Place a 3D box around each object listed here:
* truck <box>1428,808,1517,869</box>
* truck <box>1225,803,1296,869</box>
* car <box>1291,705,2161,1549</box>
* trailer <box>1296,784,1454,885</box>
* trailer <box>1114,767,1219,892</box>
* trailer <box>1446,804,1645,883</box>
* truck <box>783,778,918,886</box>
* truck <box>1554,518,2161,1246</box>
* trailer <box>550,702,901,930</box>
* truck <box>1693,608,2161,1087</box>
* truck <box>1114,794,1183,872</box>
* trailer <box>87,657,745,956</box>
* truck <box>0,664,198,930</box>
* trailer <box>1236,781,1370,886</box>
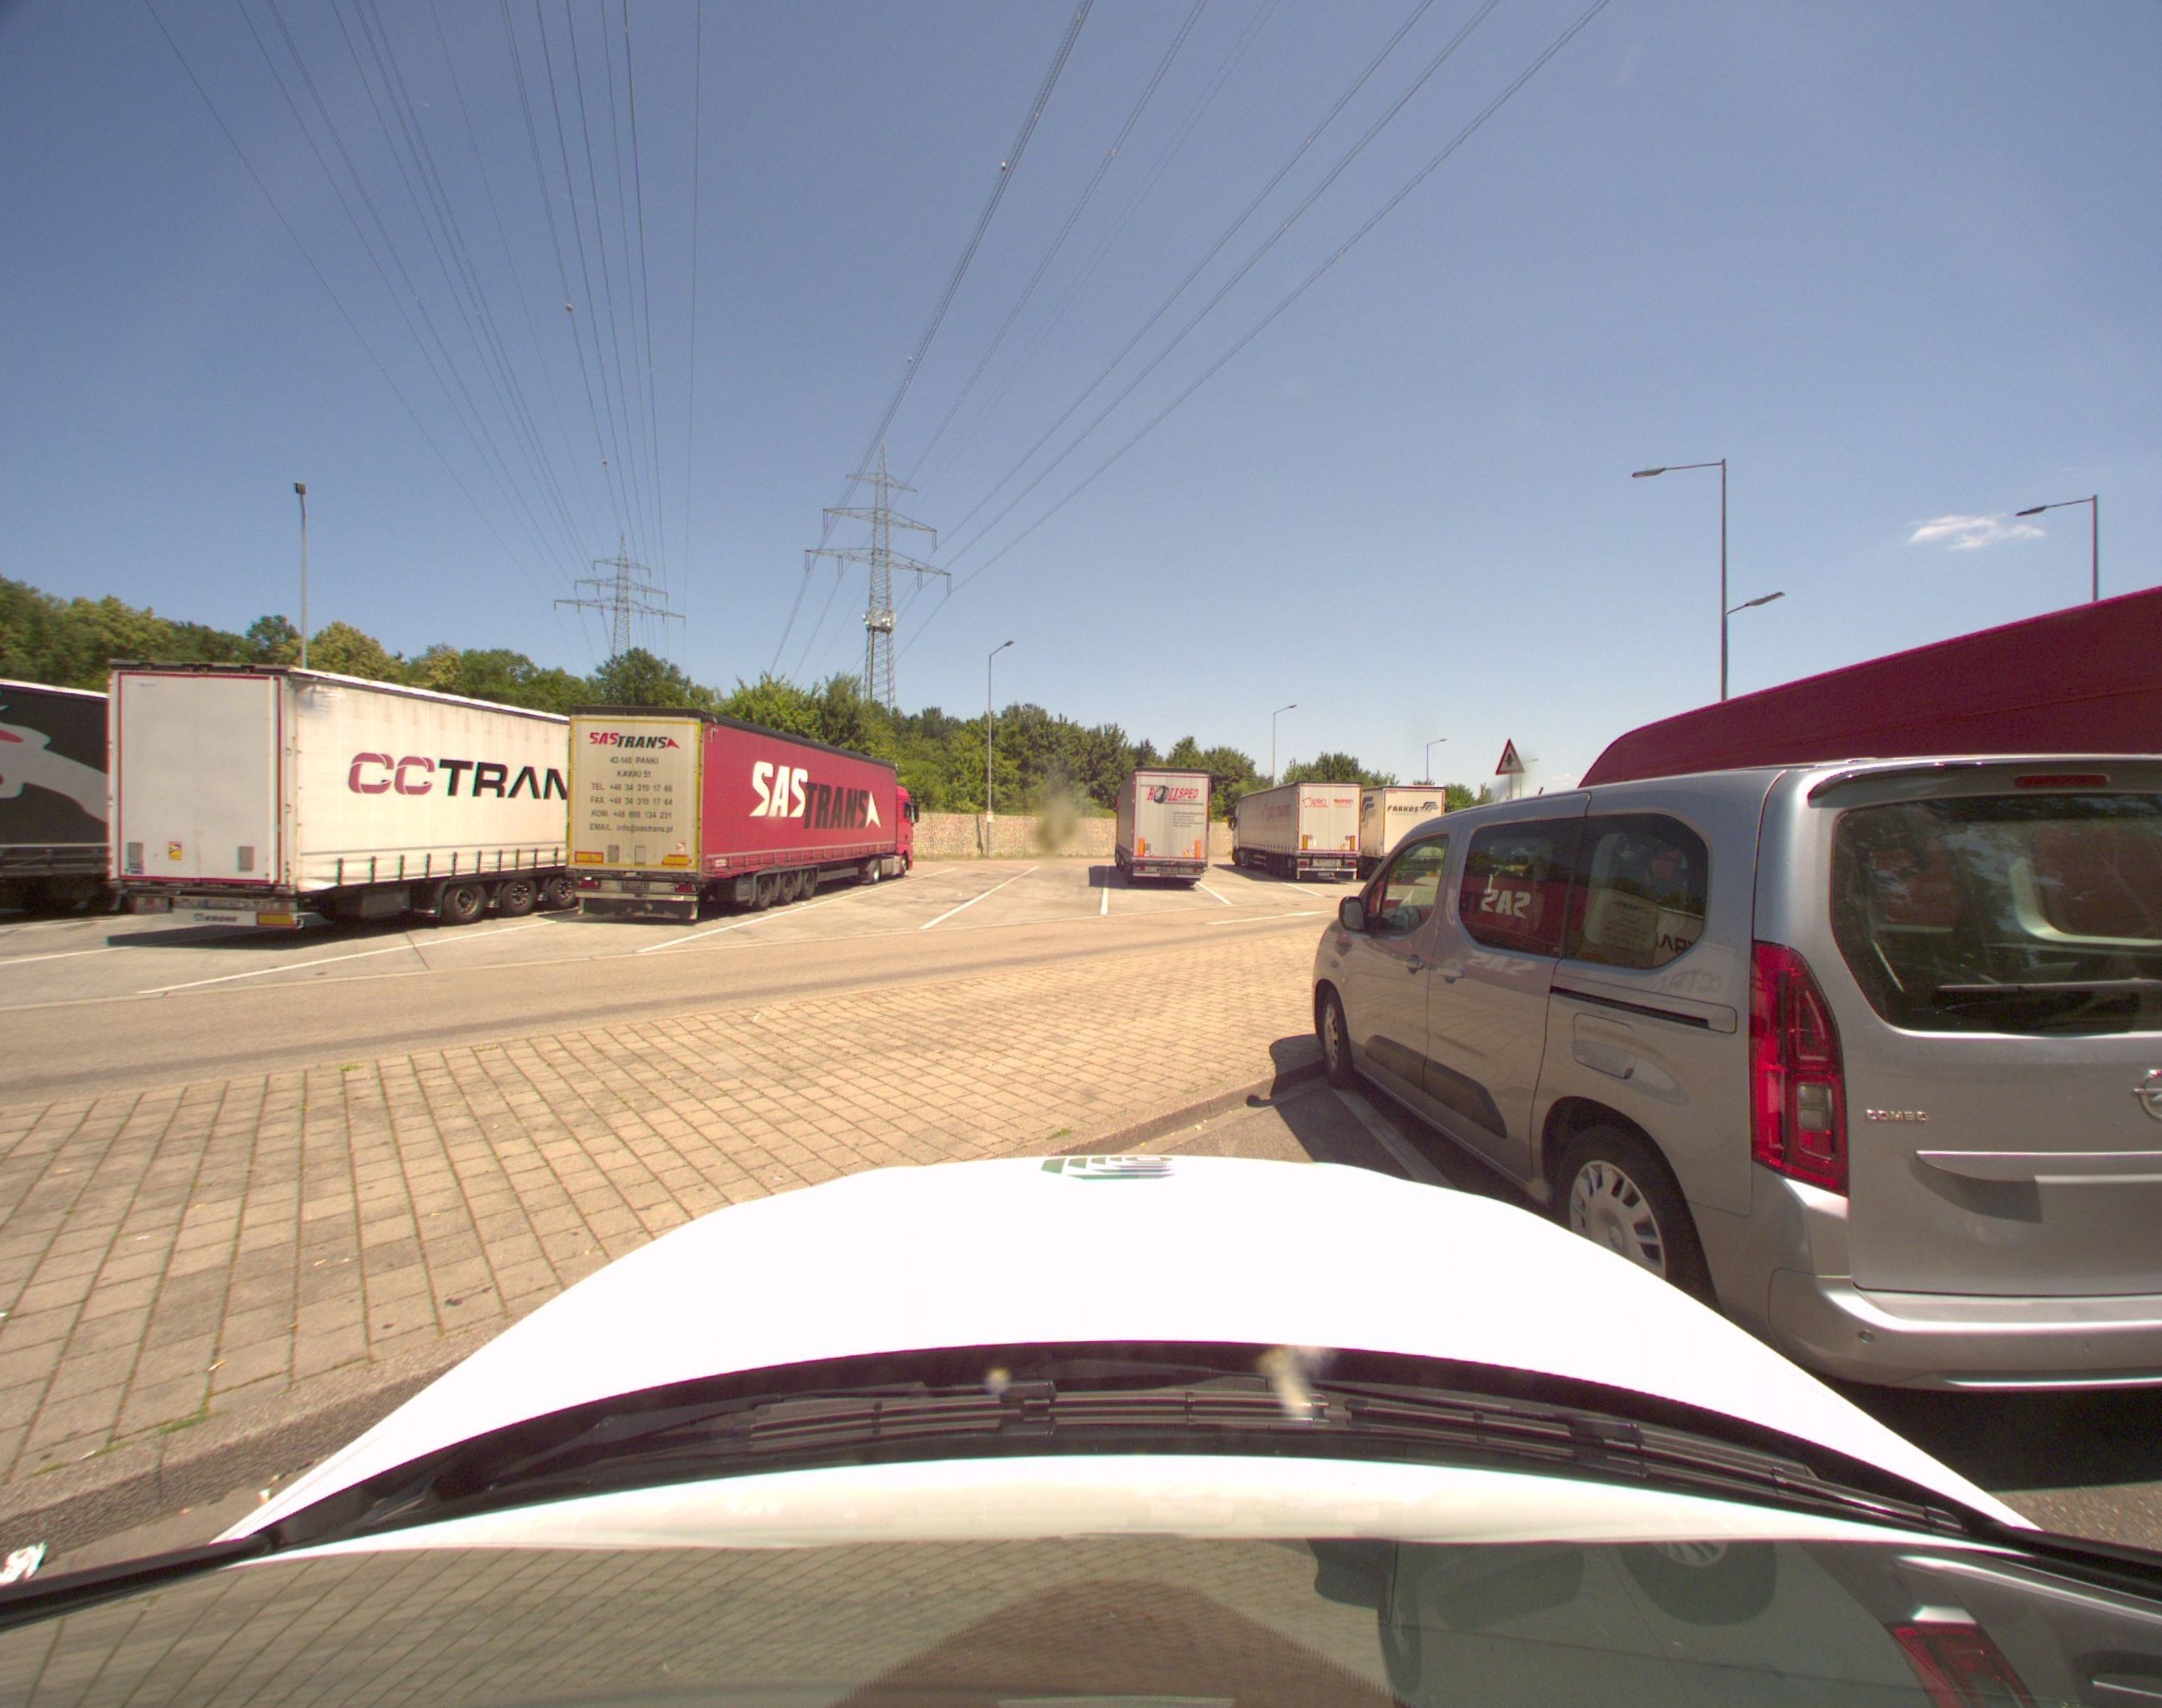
[{"bbox_3d":[24.351,-1.004,50.995,2.792,3.521,5.903,1,2,2],"label":"truck"},{"bbox_3d":[10.186,-1.071,46.757,2.852,3.521,5.903,1,2,2],"label":"truck"},{"bbox_3d":[2.481,0.576,3.895,1.864,1.863,4.176,1,1,0],"label":"car"},{"bbox_3d":[13.597,-1.033,39.618,2.801,3.989,14.403,1,2,2],"label":"trailer"},{"bbox_3d":[3.057,-1.061,33.707,3.122,3.989,14.401,1,2,1],"label":"trailer"},{"bbox_3d":[24.094,-0.732,43.764,2.801,3.507,14.403,1,2,2],"label":"trailer"},{"bbox_3d":[-7.822,-0.780,28.488,2.840,3.327,5.903,1,2,2],"label":"truck"},{"bbox_3d":[5.127,0.121,4.918,1.968,2.622,5.314,0,-1,7],"label":"truck"},{"bbox_3d":[-8.071,-0.943,21.918,2.781,4.084,14.139,1,2,2],"label":"trailer"},{"bbox_3d":[7.983,-0.035,6.467,2.444,2.912,5.663,-1,-1,7],"label":"truck"},{"bbox_3d":[3.224,-1.077,40.601,3.092,3.566,5.903,1,2,2],"label":"truck"},{"bbox_3d":[-12.135,-0.906,18.349,2.785,4.084,14.139,1,2,2],"label":"trailer"},{"bbox_3d":[-18.548,-0.964,13.797,2.726,4.239,3.997,1,2,2],"label":"truck"},{"bbox_3d":[9.923,-1.042,38.656,2.801,3.989,14.403,1,2,2],"label":"trailer"}]
